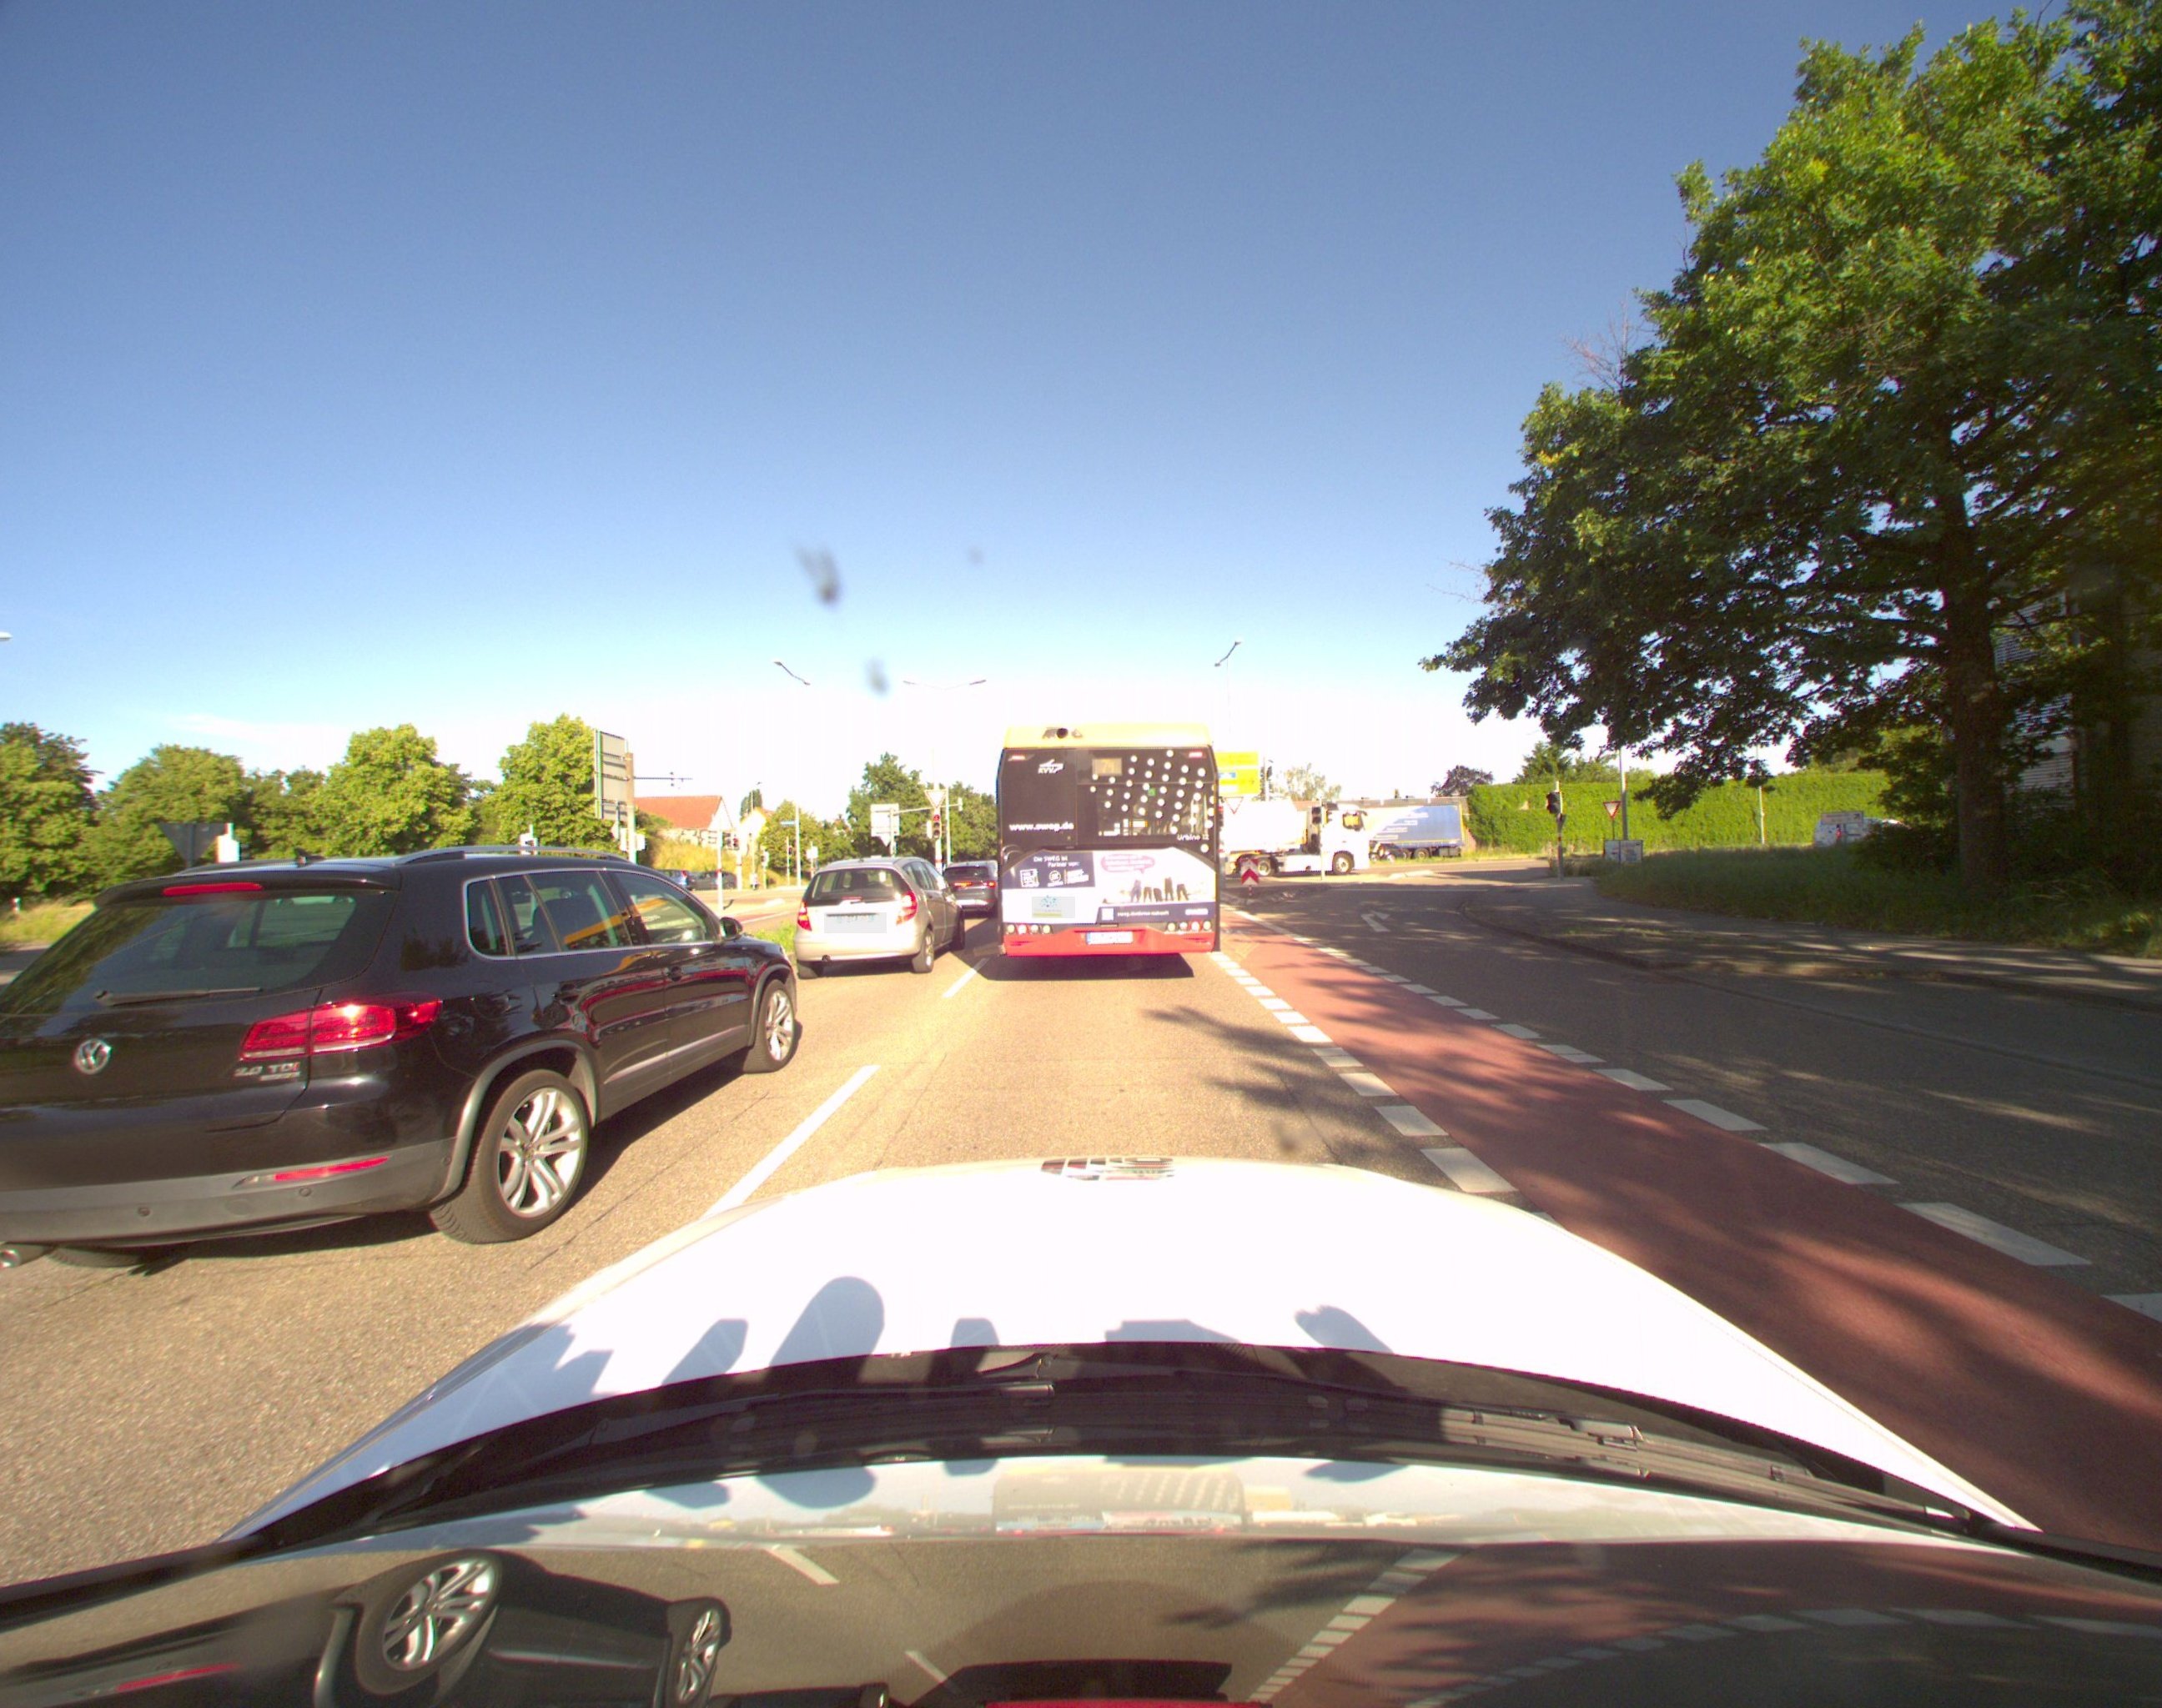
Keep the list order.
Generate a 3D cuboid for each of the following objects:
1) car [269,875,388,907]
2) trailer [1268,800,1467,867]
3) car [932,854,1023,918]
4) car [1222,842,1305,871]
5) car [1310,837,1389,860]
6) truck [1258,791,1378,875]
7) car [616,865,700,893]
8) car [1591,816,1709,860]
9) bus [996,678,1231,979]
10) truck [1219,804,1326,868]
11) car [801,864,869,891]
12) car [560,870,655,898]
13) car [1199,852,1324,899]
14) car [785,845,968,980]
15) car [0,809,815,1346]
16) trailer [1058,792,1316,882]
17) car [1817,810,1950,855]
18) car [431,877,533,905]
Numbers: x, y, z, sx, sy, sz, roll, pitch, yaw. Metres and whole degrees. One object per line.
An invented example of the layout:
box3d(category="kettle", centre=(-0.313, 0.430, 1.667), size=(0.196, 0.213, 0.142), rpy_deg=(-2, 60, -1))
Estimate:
box3d(category="car", centre=(-42.201, 2.058, 45.767), size=(4.522, 1.715, 1.995), rpy_deg=(-1, -1, -7))
box3d(category="trailer", centre=(19.183, -1.378, 54.744), size=(12.712, 4.030, 2.466), rpy_deg=(-2, 0, -5))
box3d(category="car", centre=(-2.612, 0.791, 21.262), size=(1.581, 1.486, 3.686), rpy_deg=(-2, -1, 4))
box3d(category="car", centre=(9.273, 0.136, 41.431), size=(3.843, 1.313, 1.504), rpy_deg=(-2, -1, -7))
box3d(category="car", centre=(15.679, -0.307, 47.649), size=(4.148, 1.302, 1.573), rpy_deg=(-1, -1, -2))
box3d(category="truck", centre=(10.967, -0.950, 38.001), size=(4.790, 3.695, 2.408), rpy_deg=(-2, 0, -3))
box3d(category="car", centre=(-24.705, 1.452, 47.615), size=(3.980, 1.553, 1.693), rpy_deg=(-1, -1, -5))
box3d(category="car", centre=(17.791, -0.472, 25.444), size=(3.412, 1.296, 1.449), rpy_deg=(0, -1, -24))
box3d(category="bus", centre=(0.553, -0.280, 15.123), size=(2.586, 3.334, 11.988), rpy_deg=(-1, 0, 2))
box3d(category="truck", centre=(12.645, -1.199, 54.135), size=(6.387, 3.998, 2.468), rpy_deg=(-2, 0, -5))
box3d(category="car", centre=(-16.444, 1.572, 54.547), size=(3.979, 1.612, 1.693), rpy_deg=(-2, 0, -4))
box3d(category="car", centre=(-24.258, 1.521, 41.819), size=(3.842, 1.385, 1.678), rpy_deg=(-1, -1, -7))
box3d(category="car", centre=(5.323, 0.616, 24.204), size=(3.500, 1.302, 1.579), rpy_deg=(-1, 1, 10))
box3d(category="car", centre=(-2.881, 0.722, 12.387), size=(1.749, 1.620, 4.032), rpy_deg=(-2, 1, -1))
box3d(category="car", centre=(-3.171, 0.771, 4.648), size=(1.814, 1.673, 4.004), rpy_deg=(-3, -1, 1))
box3d(category="trailer", centre=(4.774, -0.784, 37.435), size=(11.455, 3.696, 2.391), rpy_deg=(-2, 0, -5))
box3d(category="car", centre=(36.065, -0.931, 36.684), size=(4.084, 1.801, 1.462), rpy_deg=(-2, -1, 11))
box3d(category="car", centre=(-29.987, 1.844, 40.873), size=(3.842, 1.313, 1.504), rpy_deg=(-1, -1, -7))
